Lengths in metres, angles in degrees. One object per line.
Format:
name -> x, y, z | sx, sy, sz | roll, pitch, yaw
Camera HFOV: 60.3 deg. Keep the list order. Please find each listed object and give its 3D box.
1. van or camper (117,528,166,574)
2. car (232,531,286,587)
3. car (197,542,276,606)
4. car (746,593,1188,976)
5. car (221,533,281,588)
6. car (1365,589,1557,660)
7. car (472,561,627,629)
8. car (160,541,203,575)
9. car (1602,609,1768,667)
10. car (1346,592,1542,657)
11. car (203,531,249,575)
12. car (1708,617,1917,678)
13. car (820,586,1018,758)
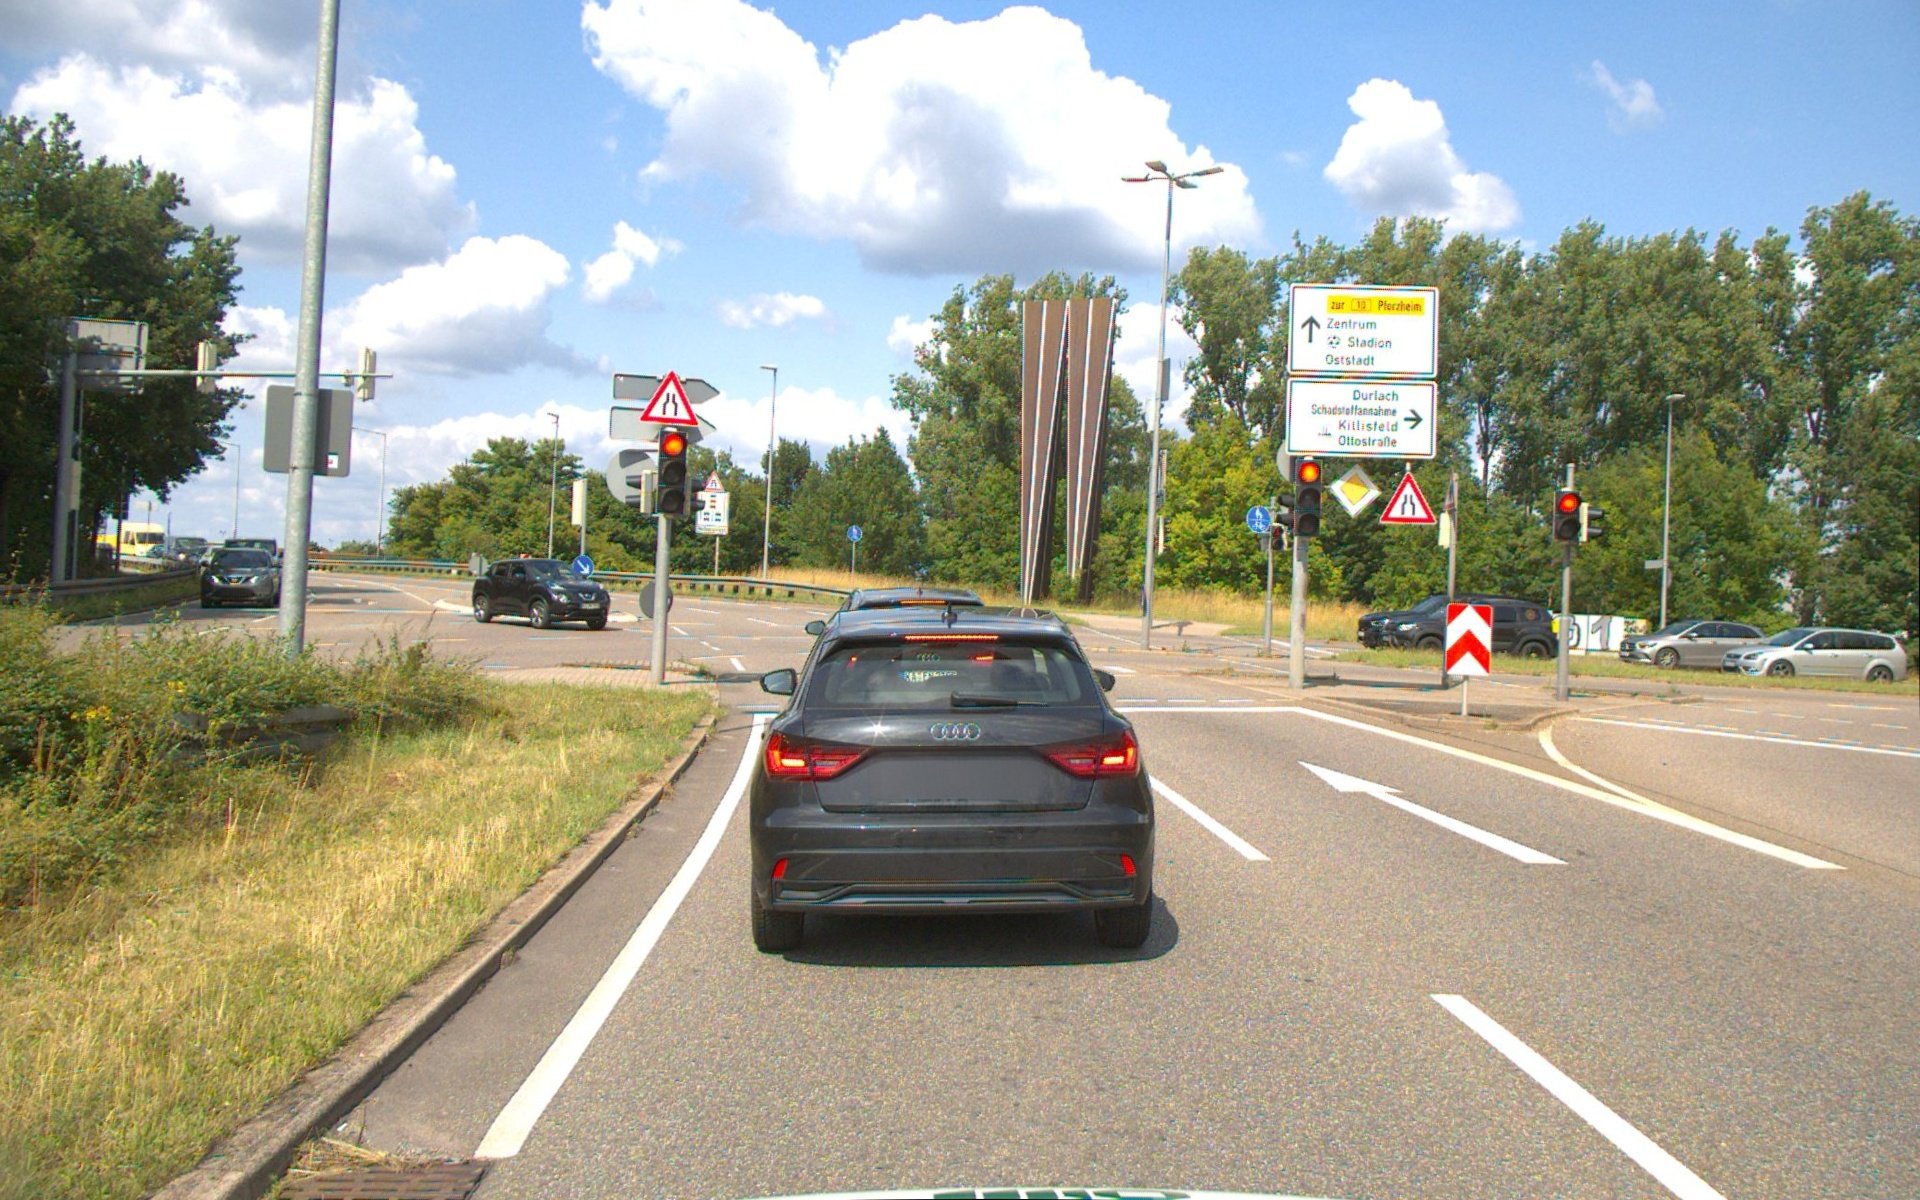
van or camper -> -50.739, -3.007, 102.457 | 1.974, 2.730, 6.788 | 1, 1, -32
car -> -28.465, -1.643, 67.096 | 1.819, 2.137, 4.293 | 2, 0, -25
car -> -20.060, -0.675, 45.984 | 1.813, 1.646, 3.974 | 1, -1, -21
car -> -0.004, 0.696, 8.331 | 1.691, 1.429, 3.999 | 0, 1, -1
car -> -25.591, -1.422, 59.806 | 1.817, 1.833, 4.298 | 2, 0, -22
car -> 12.341, 0.595, 40.905 | 4.182, 1.572, 1.736 | 2, 0, -2
car -> -9.702, -0.129, 38.967 | 1.936, 1.443, 3.910 | 2, 1, -42
car -> -42.301, -2.275, 89.822 | 1.823, 1.735, 4.285 | 2, 0, -29
car -> 21.506, 1.104, 49.186 | 4.024, 1.522, 1.999 | 2, 0, -4
car -> 13.053, 0.649, 44.775 | 4.750, 1.572, 1.736 | 2, 0, -2
car -> -35.755, -2.290, 80.522 | 1.821, 2.013, 4.289 | 2, 0, -27
car -> 21.305, 1.180, 41.411 | 4.385, 1.343, 1.735 | 2, 0, -5
car -> -0.511, 0.600, 16.124 | 1.692, 1.448, 3.841 | 0, 1, -5
